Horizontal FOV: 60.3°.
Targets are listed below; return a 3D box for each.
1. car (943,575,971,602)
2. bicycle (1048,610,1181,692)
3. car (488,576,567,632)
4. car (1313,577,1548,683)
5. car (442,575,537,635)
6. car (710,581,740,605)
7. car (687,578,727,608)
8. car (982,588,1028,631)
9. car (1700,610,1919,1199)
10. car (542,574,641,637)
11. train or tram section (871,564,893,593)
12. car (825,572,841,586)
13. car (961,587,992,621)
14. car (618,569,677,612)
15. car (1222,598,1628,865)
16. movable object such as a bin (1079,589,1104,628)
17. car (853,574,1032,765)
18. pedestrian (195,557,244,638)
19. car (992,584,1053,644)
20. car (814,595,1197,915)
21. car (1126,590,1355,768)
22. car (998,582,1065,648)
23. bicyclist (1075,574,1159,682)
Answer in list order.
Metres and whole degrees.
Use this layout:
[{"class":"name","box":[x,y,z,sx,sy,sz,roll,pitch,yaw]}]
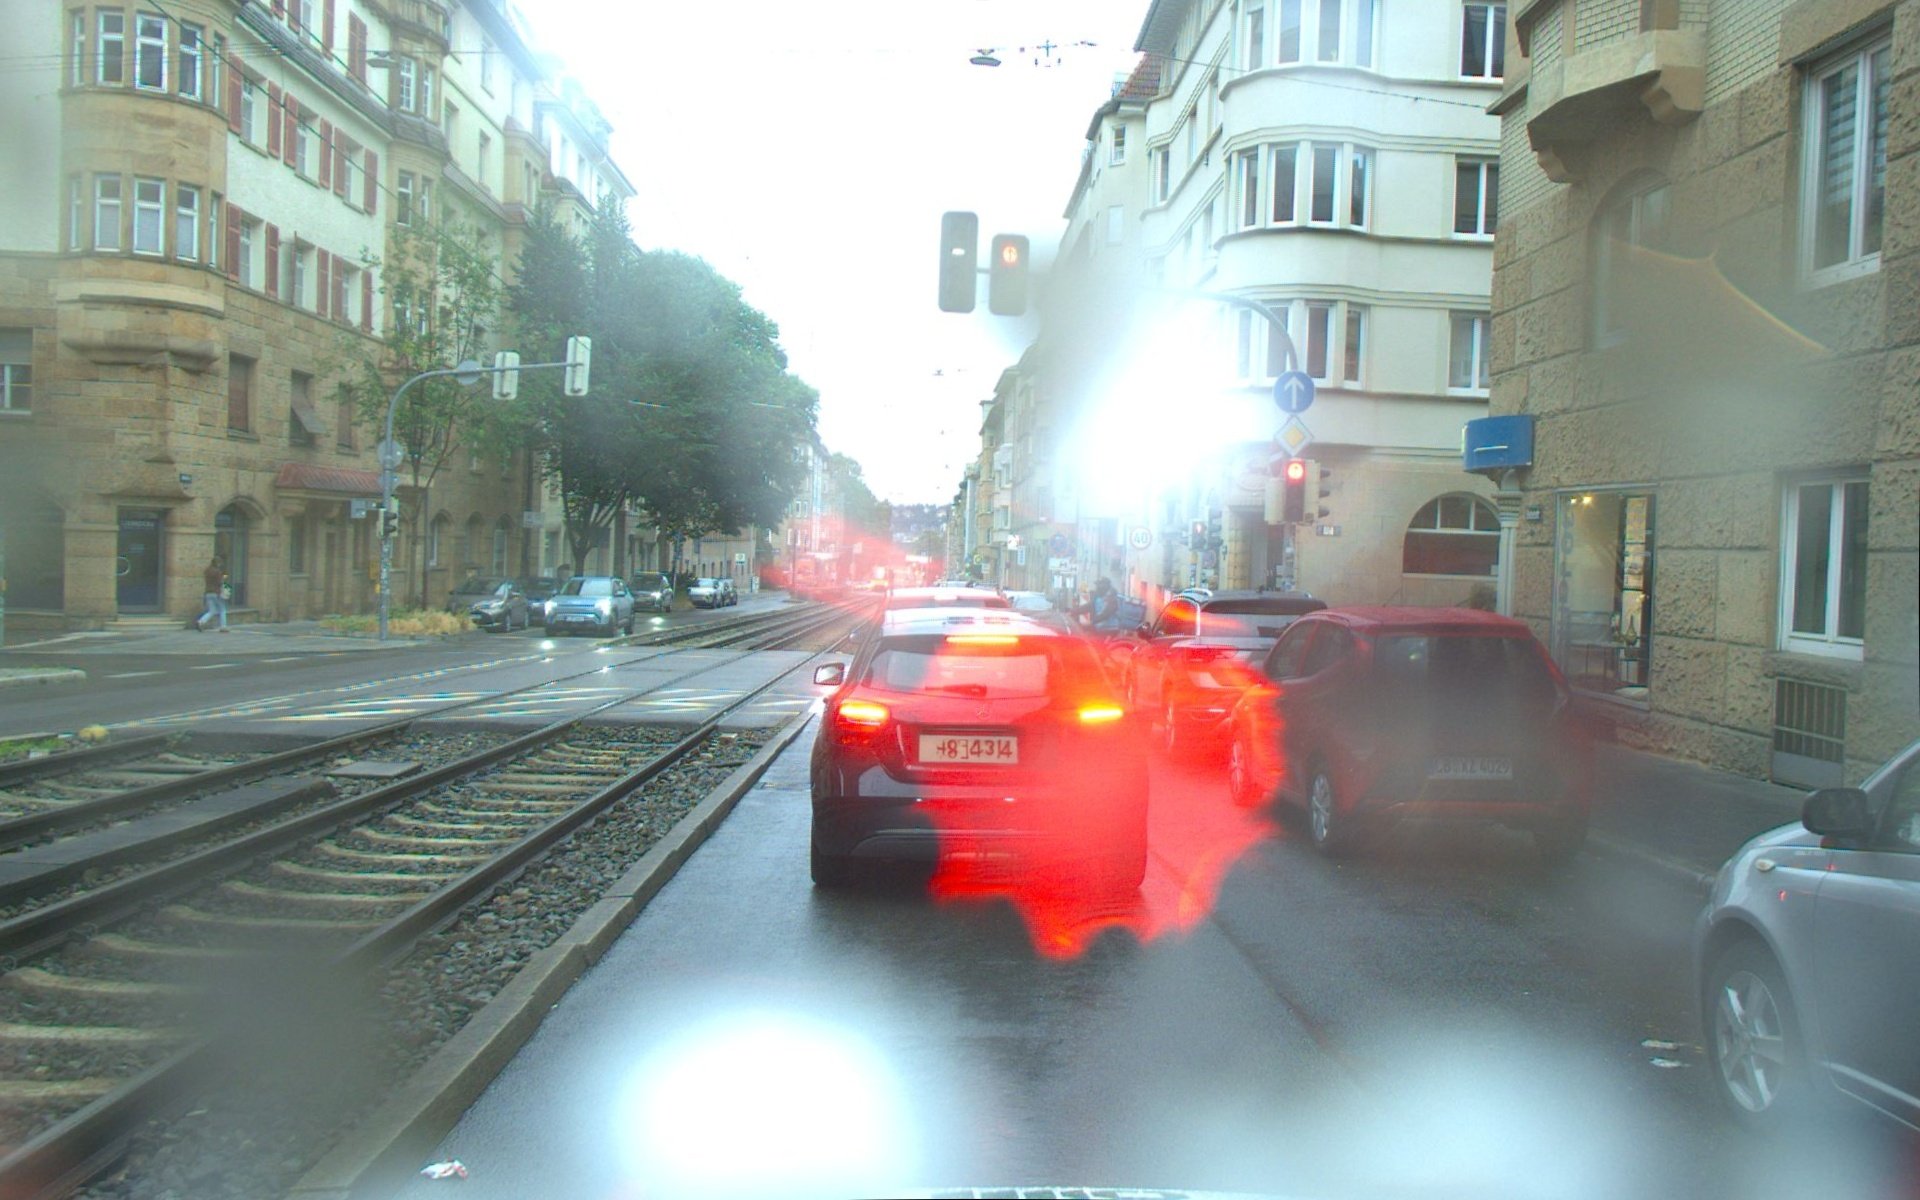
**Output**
[{"class":"car","box":[-0.230,-0.818,121.519,1.953,1.909,3.999,1,0,-1]},{"class":"bicycle","box":[2.366,0.778,25.517,1.988,1.207,0.827,1,-1,3]},{"class":"car","box":[-13.279,0.122,50.981,1.683,1.639,3.914,1,0,-5]},{"class":"car","box":[7.943,0.491,28.157,3.596,1.664,1.550,1,0,5]},{"class":"car","box":[-13.015,0.139,45.954,1.718,1.579,4.032,1,0,-4]},{"class":"car","box":[-14.027,-0.412,98.830,1.419,1.354,3.270,1,0,-3]},{"class":"car","box":[-13.659,-0.359,89.425,1.557,1.608,3.917,1,0,-1]},{"class":"car","box":[1.661,0.340,62.007,1.513,1.512,3.547,1,0,-1]},{"class":"car","box":[3.120,0.786,3.559,1.581,1.493,3.312,0,0,0]},{"class":"car","box":[-10.050,0.155,45.385,1.860,1.615,3.972,1,0,-1]},{"class":"train or tram section","box":[-10.860,-2.949,230.570,2.726,3.928,10.427,1,0,-1]},{"class":"car","box":[-12.351,-2.029,161.085,1.349,1.271,3.296,1,0,-2]},{"class":"car","box":[0.721,0.149,74.065,1.268,1.468,2.928,1,0,-1]},{"class":"car","box":[-13.564,-0.393,71.964,1.837,1.767,3.917,1,0,-1]},{"class":"car","box":[2.903,0.748,11.019,1.609,1.473,3.297,1,0,-3]},{"class":"movable object such as a bin","box":[4.761,0.316,60.102,0.859,1.413,0.983,1,-1,3]},{"class":"car","box":[-0.179,0.619,16.293,1.533,1.637,3.813,1,0,-1]},{"class":"pedestrian","box":[-15.910,-0.051,35.547,0.618,1.702,0.703,1,-1,17]},{"class":"car","box":[1.766,0.387,47.598,1.513,1.618,3.547,1,0,-1]},{"class":"car","box":[0.188,0.732,9.910,1.792,1.483,4.103,1,0,-1]},{"class":"car","box":[2.628,0.678,16.254,1.513,1.512,3.829,1,0,-1]},{"class":"car","box":[1.836,0.359,43.125,1.513,1.618,3.547,1,0,-1]},{"class":"bicyclist","box":[2.404,0.427,25.510,1.223,1.625,0.887,1,-1,2]}]
